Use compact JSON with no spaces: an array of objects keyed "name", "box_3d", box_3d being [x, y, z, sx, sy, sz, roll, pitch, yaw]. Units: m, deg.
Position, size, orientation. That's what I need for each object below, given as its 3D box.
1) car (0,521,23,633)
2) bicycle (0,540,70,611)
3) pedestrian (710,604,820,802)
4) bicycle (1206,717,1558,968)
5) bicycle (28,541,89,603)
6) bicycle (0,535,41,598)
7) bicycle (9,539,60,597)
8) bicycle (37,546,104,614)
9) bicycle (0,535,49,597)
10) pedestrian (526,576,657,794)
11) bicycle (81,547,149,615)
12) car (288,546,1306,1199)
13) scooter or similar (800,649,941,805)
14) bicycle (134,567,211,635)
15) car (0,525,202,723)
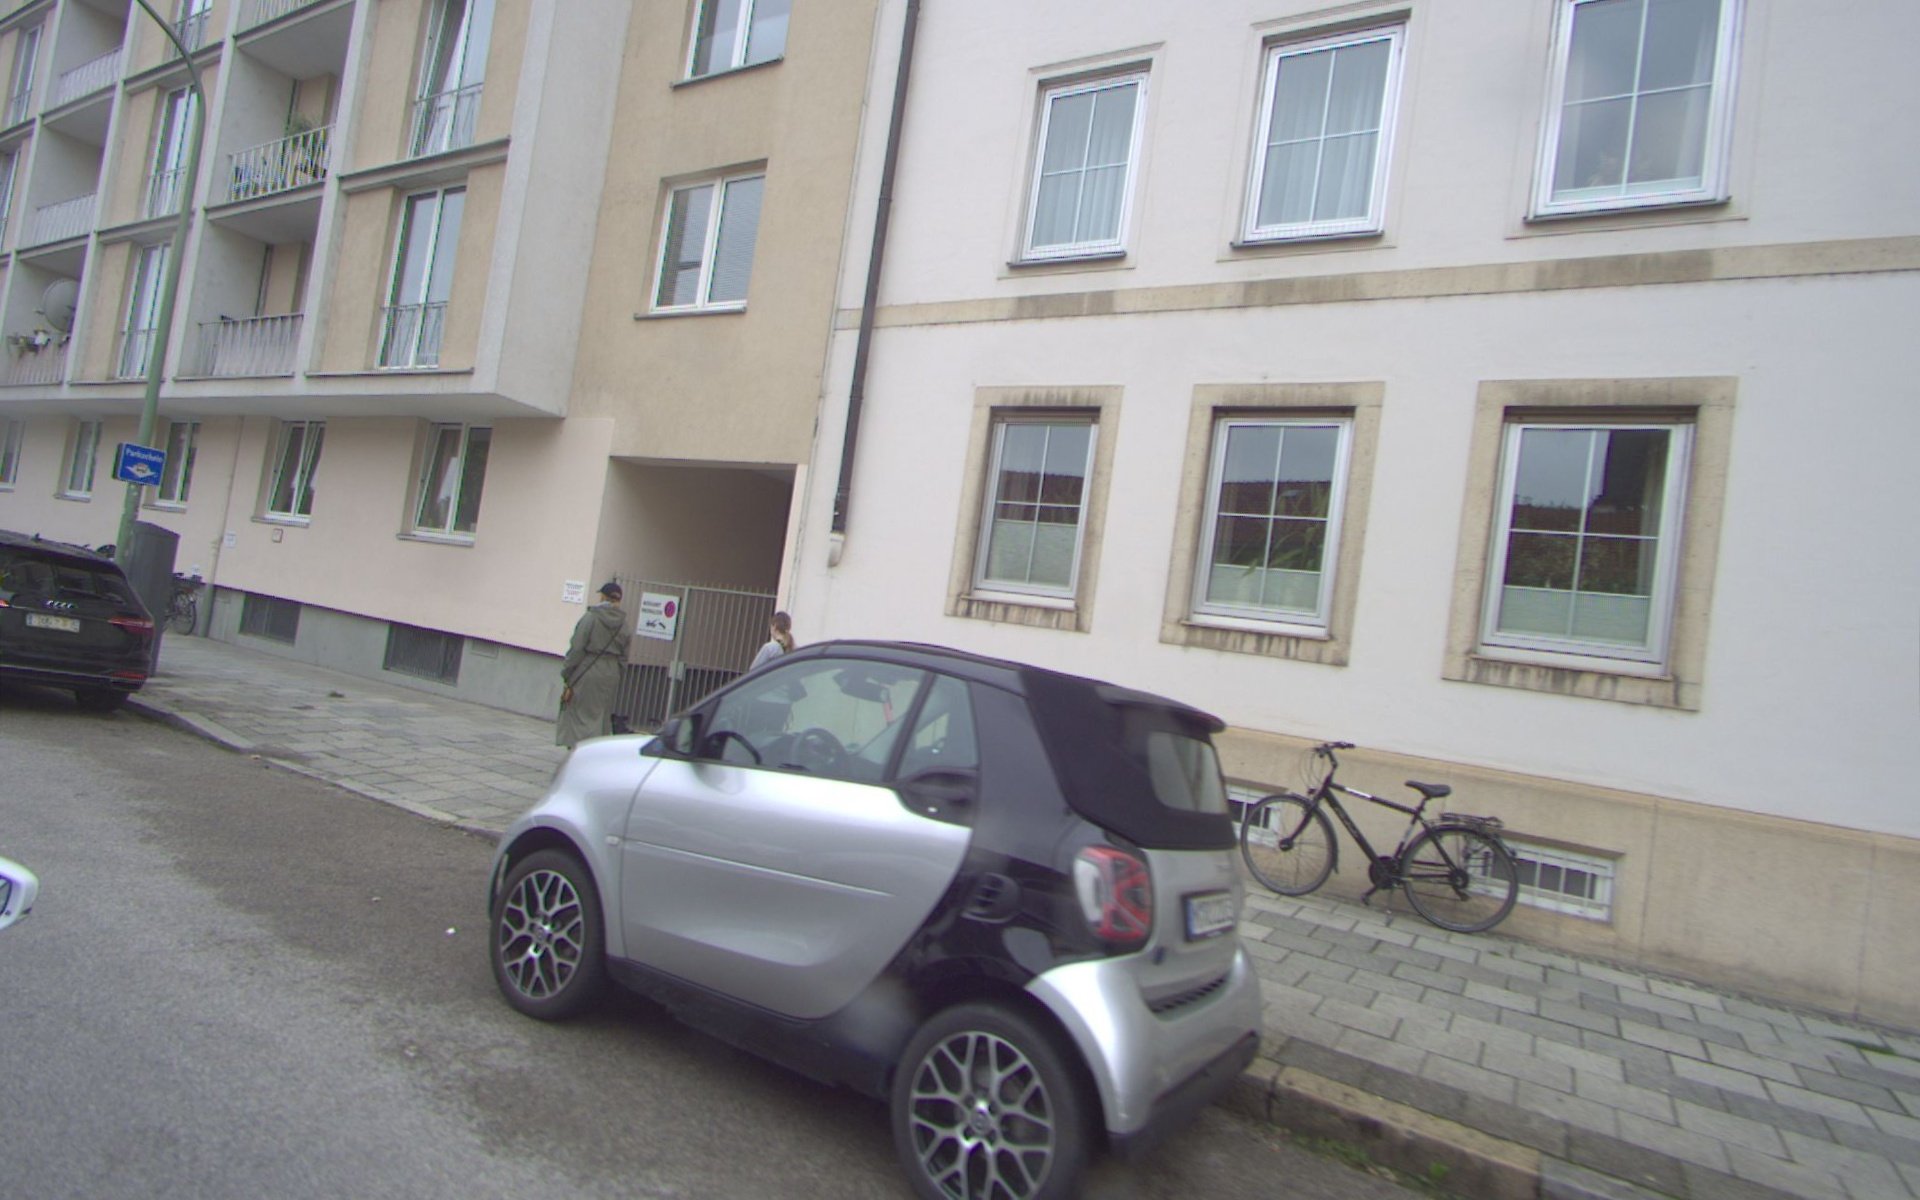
[{"name":"car","box_3d":[-13.203,-0.474,11.910,4.147,1.514,1.746,7,-5,30]},{"name":"bicycle","box_3d":[-15.848,-0.425,17.178,1.378,1.036,0.484,7,-1,31]},{"name":"pedestrian","box_3d":[-1.688,0.875,8.742,0.551,1.604,0.532,7,0,31]},{"name":"bicycle","box_3d":[2.805,1.537,6.782,1.994,1.177,0.660,7,-1,31]},{"name":"bicycle","box_3d":[-17.339,-0.548,19.339,1.378,1.036,0.390,7,-1,31]},{"name":"bicycle","box_3d":[-19.441,-0.719,20.460,1.384,1.146,0.534,7,-1,27]},{"name":"bicycle","box_3d":[-18.361,-0.636,19.954,0.985,1.036,0.374,7,-1,31]},{"name":"bicycle","box_3d":[-15.584,-0.363,17.611,1.378,1.036,0.390,7,-1,31]},{"name":"bicycle","box_3d":[-18.051,-0.665,19.298,1.378,1.036,0.390,7,-1,31]},{"name":"pedestrian","box_3d":[-3.040,0.687,8.315,0.620,1.674,0.597,7,0,31]},{"name":"bicycle","box_3d":[-14.913,-0.343,17.749,1.378,1.036,0.390,7,-1,31]},{"name":"car","box_3d":[-0.798,0.858,4.178,3.816,1.550,1.678,7,-5,32]},{"name":"scooter or similar","box_3d":[-0.802,1.124,9.111,1.020,1.267,0.601,4,-2,23]},{"name":"bicycle","box_3d":[-12.823,0.013,16.373,1.378,0.947,0.445,7,-1,31]},{"name":"car","box_3d":[-9.171,-0.012,9.193,4.406,1.434,1.804,7,-6,30]}]
